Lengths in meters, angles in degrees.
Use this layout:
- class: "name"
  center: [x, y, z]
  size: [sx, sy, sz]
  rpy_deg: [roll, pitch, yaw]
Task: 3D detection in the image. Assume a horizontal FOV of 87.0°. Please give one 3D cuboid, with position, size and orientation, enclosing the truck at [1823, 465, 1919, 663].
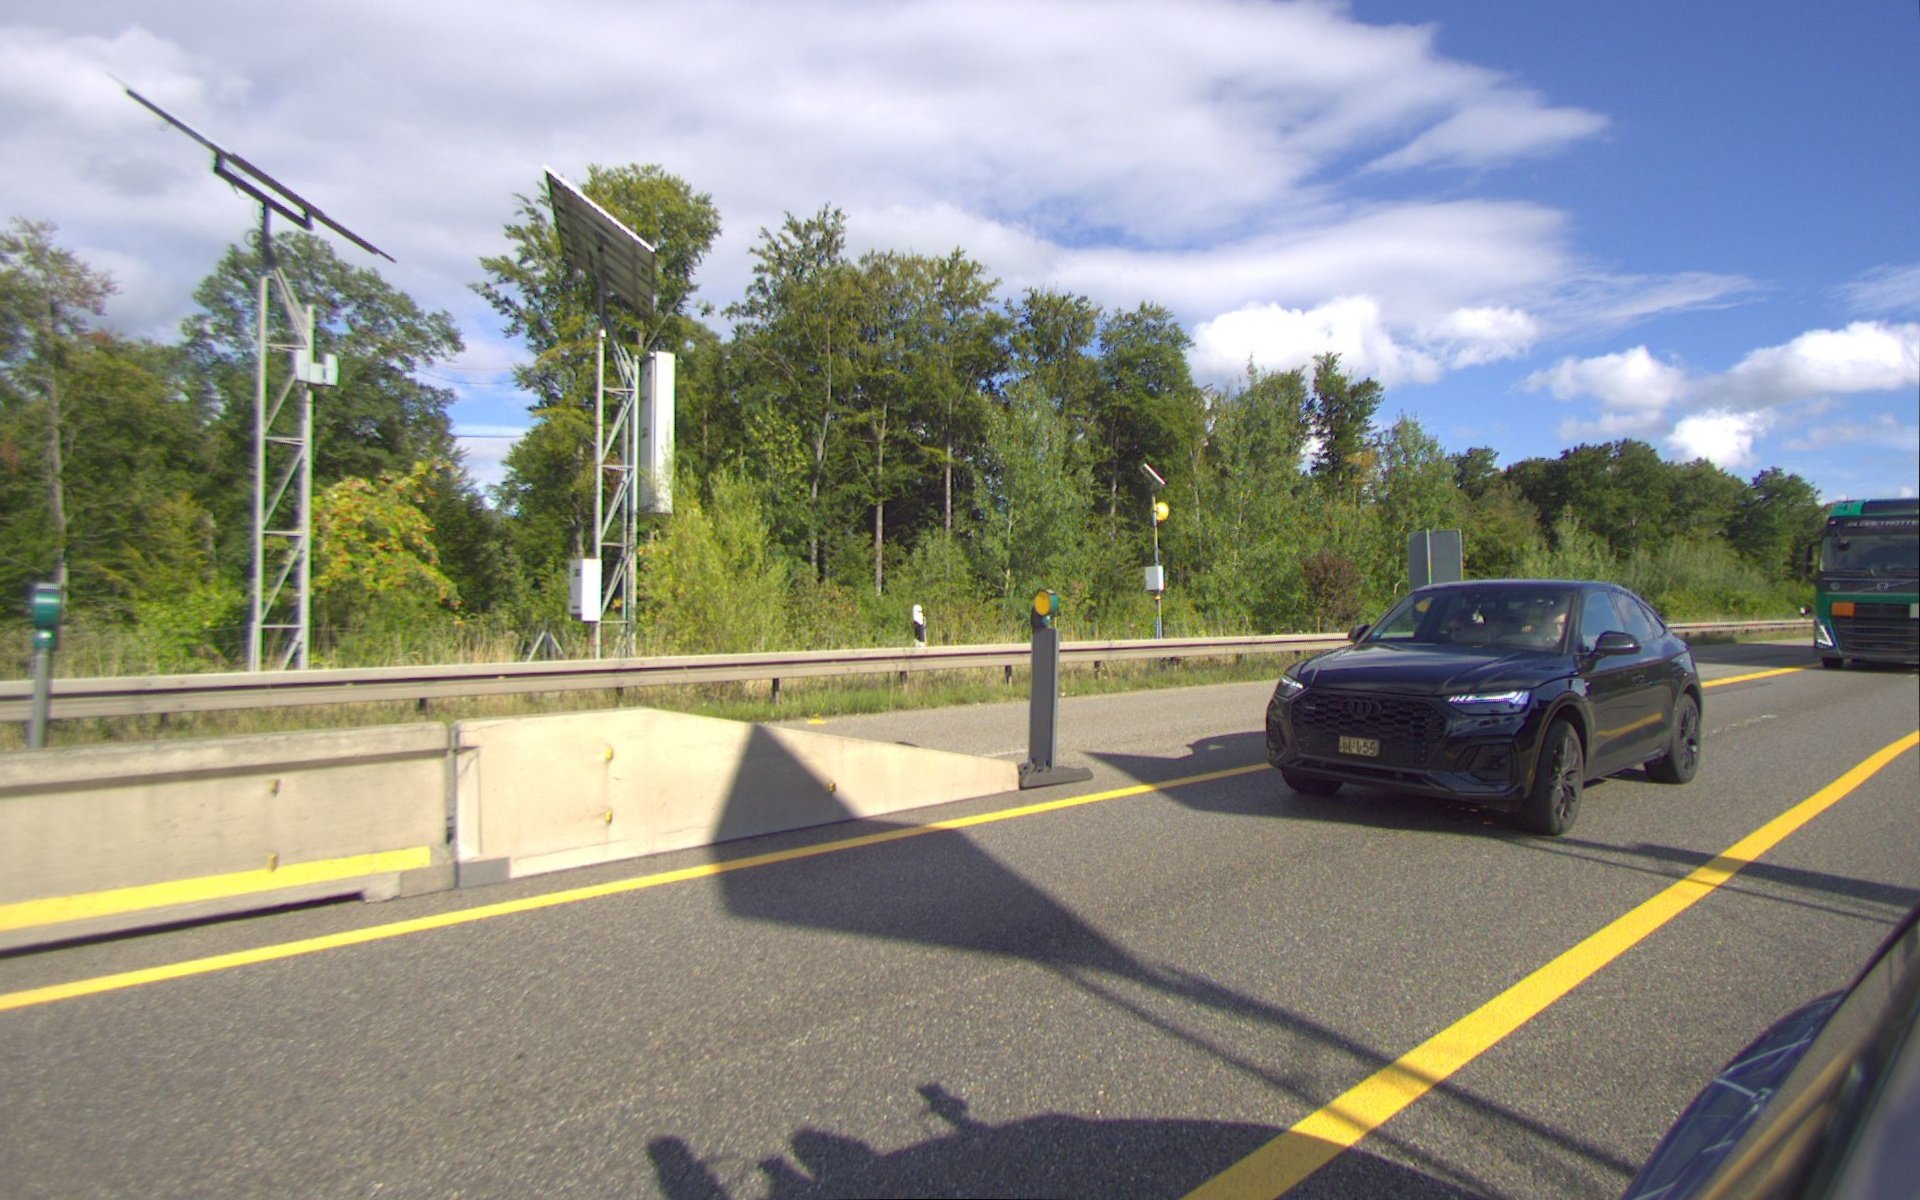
- class: "truck"
  center: [22.573, -0.766, 23.578]
  size: [6.732, 4.151, 2.527]
  rpy_deg: [0, 0, -39]

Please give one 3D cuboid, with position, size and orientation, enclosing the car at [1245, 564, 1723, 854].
- class: "car"
  center: [4.154, 0.595, 7.711]
  size: [4.218, 1.623, 1.781]
  rpy_deg: [0, 0, -40]

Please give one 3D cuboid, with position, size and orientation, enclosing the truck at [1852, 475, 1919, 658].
- class: "truck"
  center: [27.445, -0.694, 27.491]
  size: [13.951, 4.196, 2.470]
  rpy_deg: [1, -1, -39]
